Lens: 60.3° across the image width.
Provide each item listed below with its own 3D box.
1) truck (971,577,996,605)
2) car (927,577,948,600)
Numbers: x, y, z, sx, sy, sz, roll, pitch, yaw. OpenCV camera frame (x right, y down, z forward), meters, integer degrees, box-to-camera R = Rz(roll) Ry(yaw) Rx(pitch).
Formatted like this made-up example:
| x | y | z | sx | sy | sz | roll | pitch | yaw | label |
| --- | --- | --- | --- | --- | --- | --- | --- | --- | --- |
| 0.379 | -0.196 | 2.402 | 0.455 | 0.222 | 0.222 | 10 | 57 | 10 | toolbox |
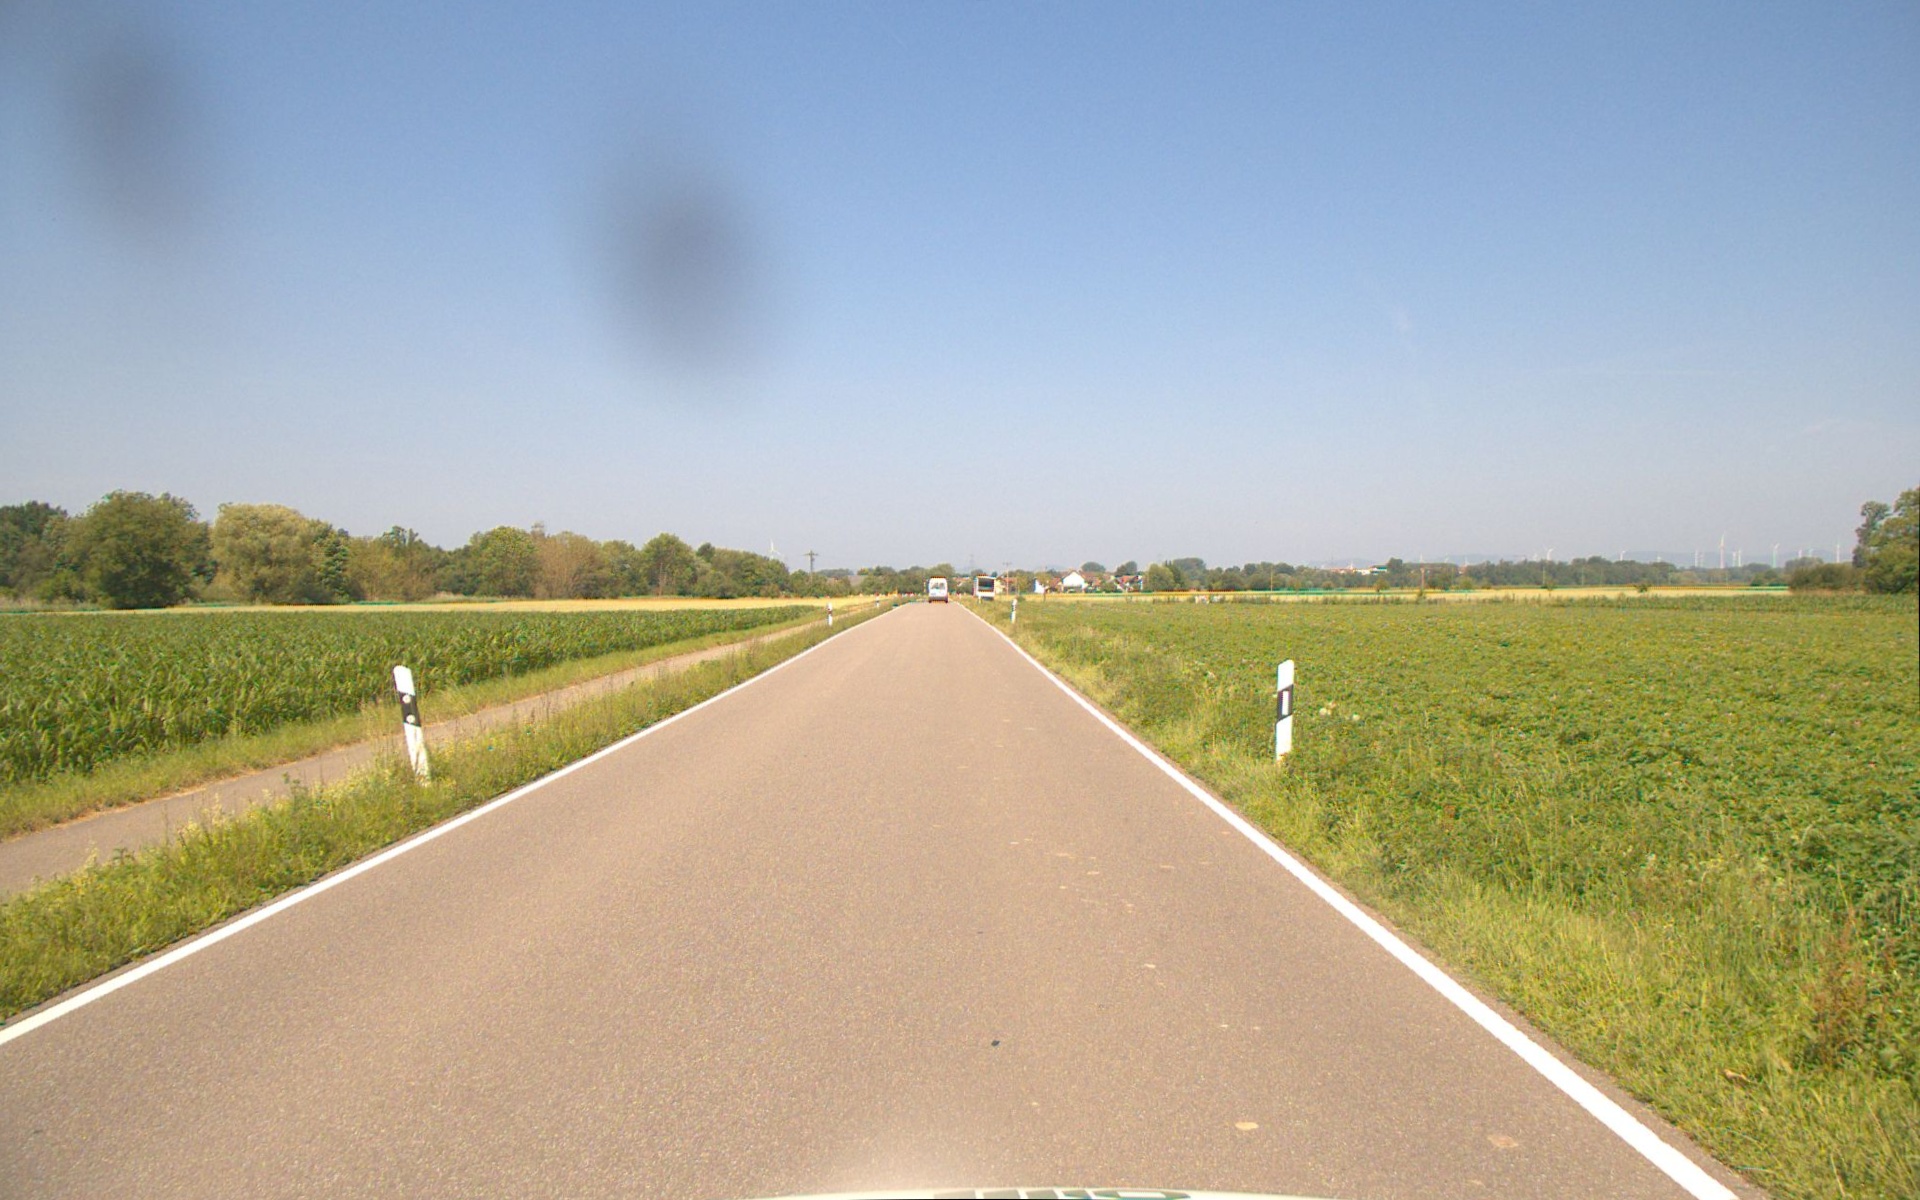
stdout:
| x | y | z | sx | sy | sz | roll | pitch | yaw | label |
| --- | --- | --- | --- | --- | --- | --- | --- | --- | --- |
| 2.602 | -0.989 | 184.213 | 2.289 | 2.994 | 7.005 | 3 | 0 | -3 | truck |
| -2.335 | -1.151 | 172.523 | 2.064 | 2.344 | 5.494 | 1 | 0 | -1 | car |
